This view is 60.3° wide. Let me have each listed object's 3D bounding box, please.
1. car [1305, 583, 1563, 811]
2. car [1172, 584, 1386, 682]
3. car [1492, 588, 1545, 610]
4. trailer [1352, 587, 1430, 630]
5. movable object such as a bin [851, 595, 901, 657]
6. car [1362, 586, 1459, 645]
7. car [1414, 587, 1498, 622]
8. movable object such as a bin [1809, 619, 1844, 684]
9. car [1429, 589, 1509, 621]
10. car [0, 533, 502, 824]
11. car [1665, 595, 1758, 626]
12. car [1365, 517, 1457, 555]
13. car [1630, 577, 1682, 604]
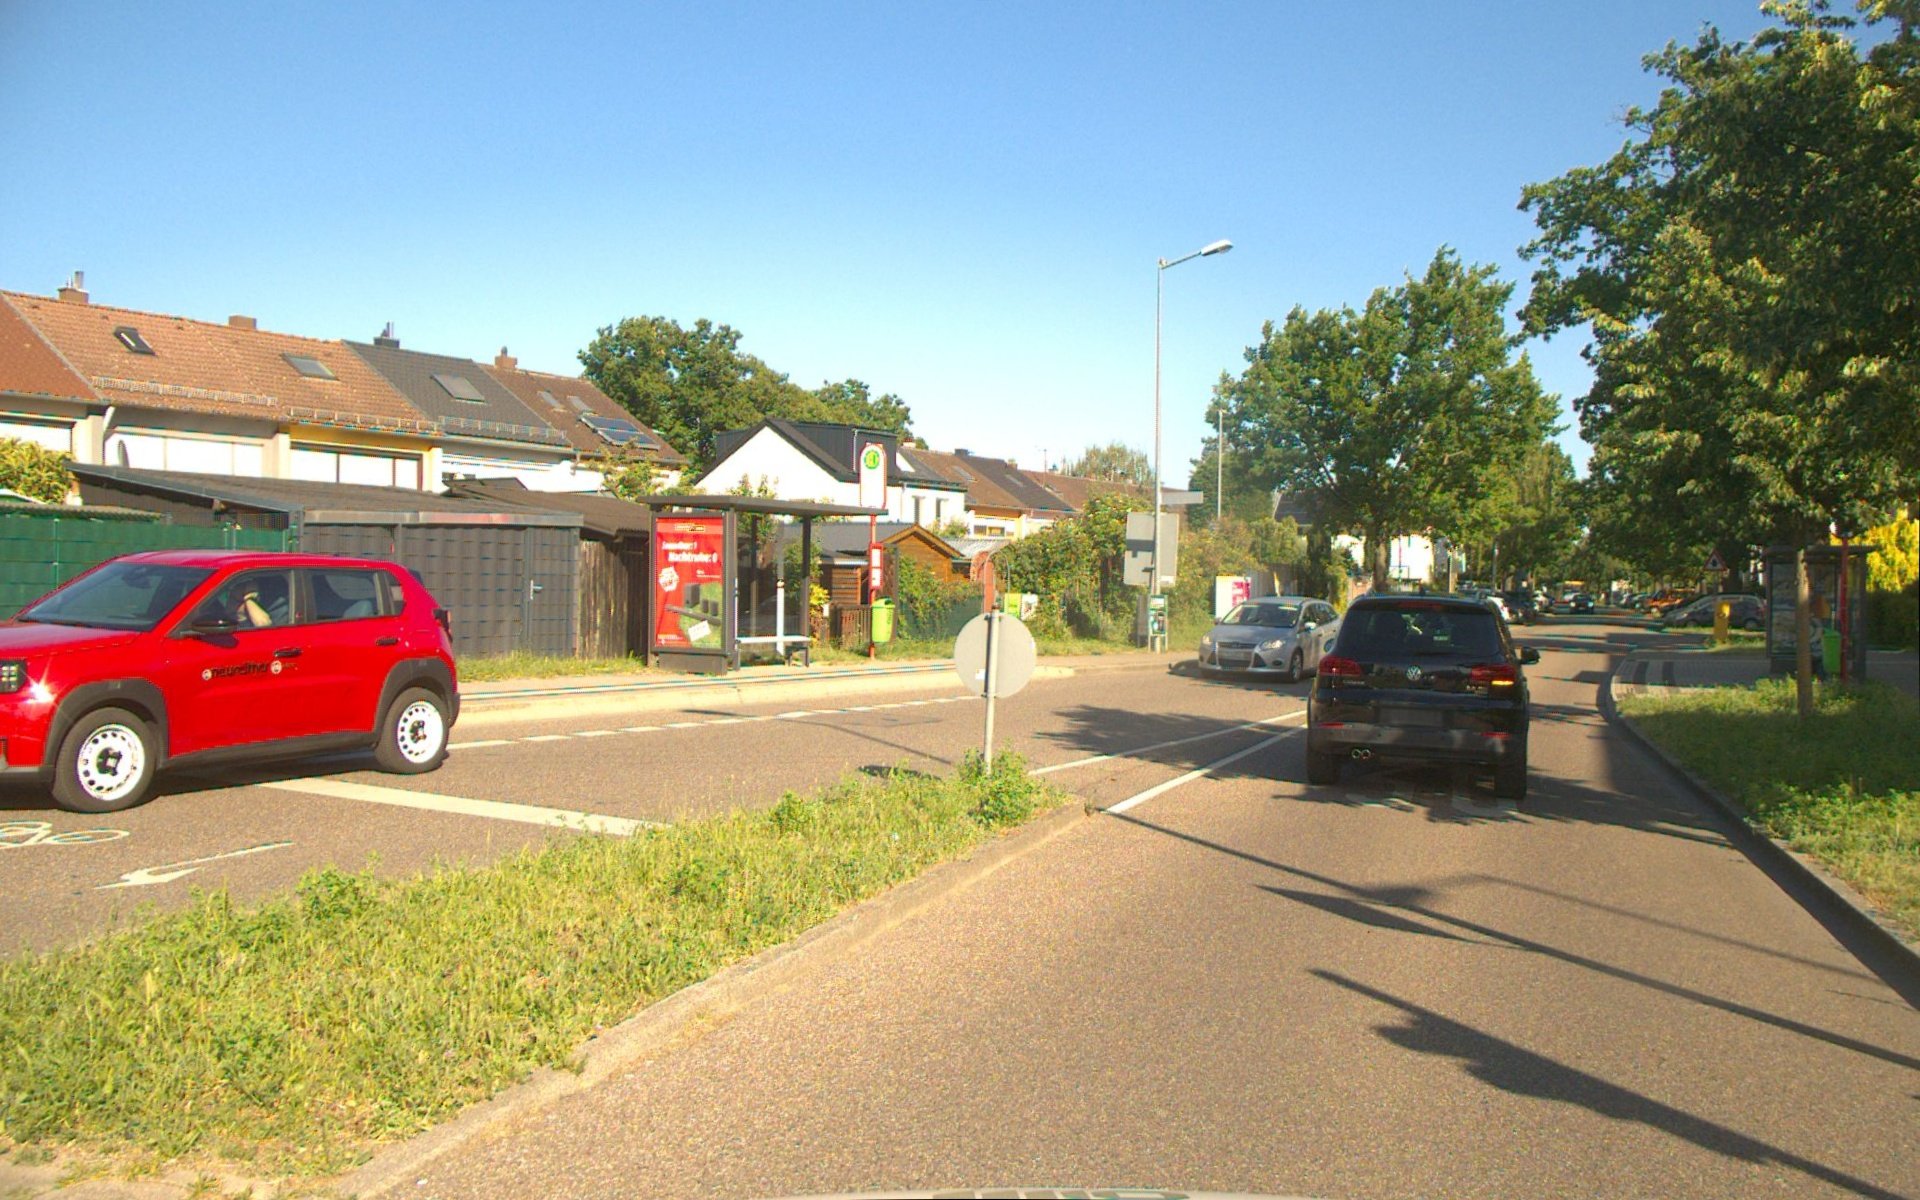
[{"bbox_3d":[4.376,0.729,15.138,1.889,1.683,4.516,2,1,17],"label":"car"},{"bbox_3d":[5.931,0.573,30.346,2.172,1.618,4.517,2,0,36],"label":"car"},{"bbox_3d":[45.012,-0.065,133.427,3.902,1.713,1.924,1,0,15],"label":"car"},{"bbox_3d":[17.314,0.328,66.446,2.905,1.685,1.397,0,0,19],"label":"trailer"},{"bbox_3d":[-1.410,0.436,27.923,0.581,0.984,0.558,5,2,27],"label":"movable object such as a bin"},{"bbox_3d":[12.412,0.396,45.408,1.953,1.468,4.449,2,1,23],"label":"car"},{"bbox_3d":[25.352,0.224,84.582,3.907,1.699,1.999,1,1,24],"label":"car"},{"bbox_3d":[14.287,0.839,27.265,0.360,1.034,0.600,1,1,13],"label":"movable object such as a bin"},{"bbox_3d":[27.525,0.263,89.459,3.907,1.668,1.999,1,1,25],"label":"car"},{"bbox_3d":[-5.329,0.416,11.328,1.902,1.616,4.176,1,1,27],"label":"car"},{"bbox_3d":[35.430,0.459,78.073,3.906,1.392,1.846,1,0,23],"label":"car"},{"bbox_3d":[18.621,-2.611,68.307,3.477,1.503,1.808,1,0,23],"label":"car"},{"bbox_3d":[57.164,-0.774,135.828,3.907,2.049,1.999,1,-2,24],"label":"car"}]
